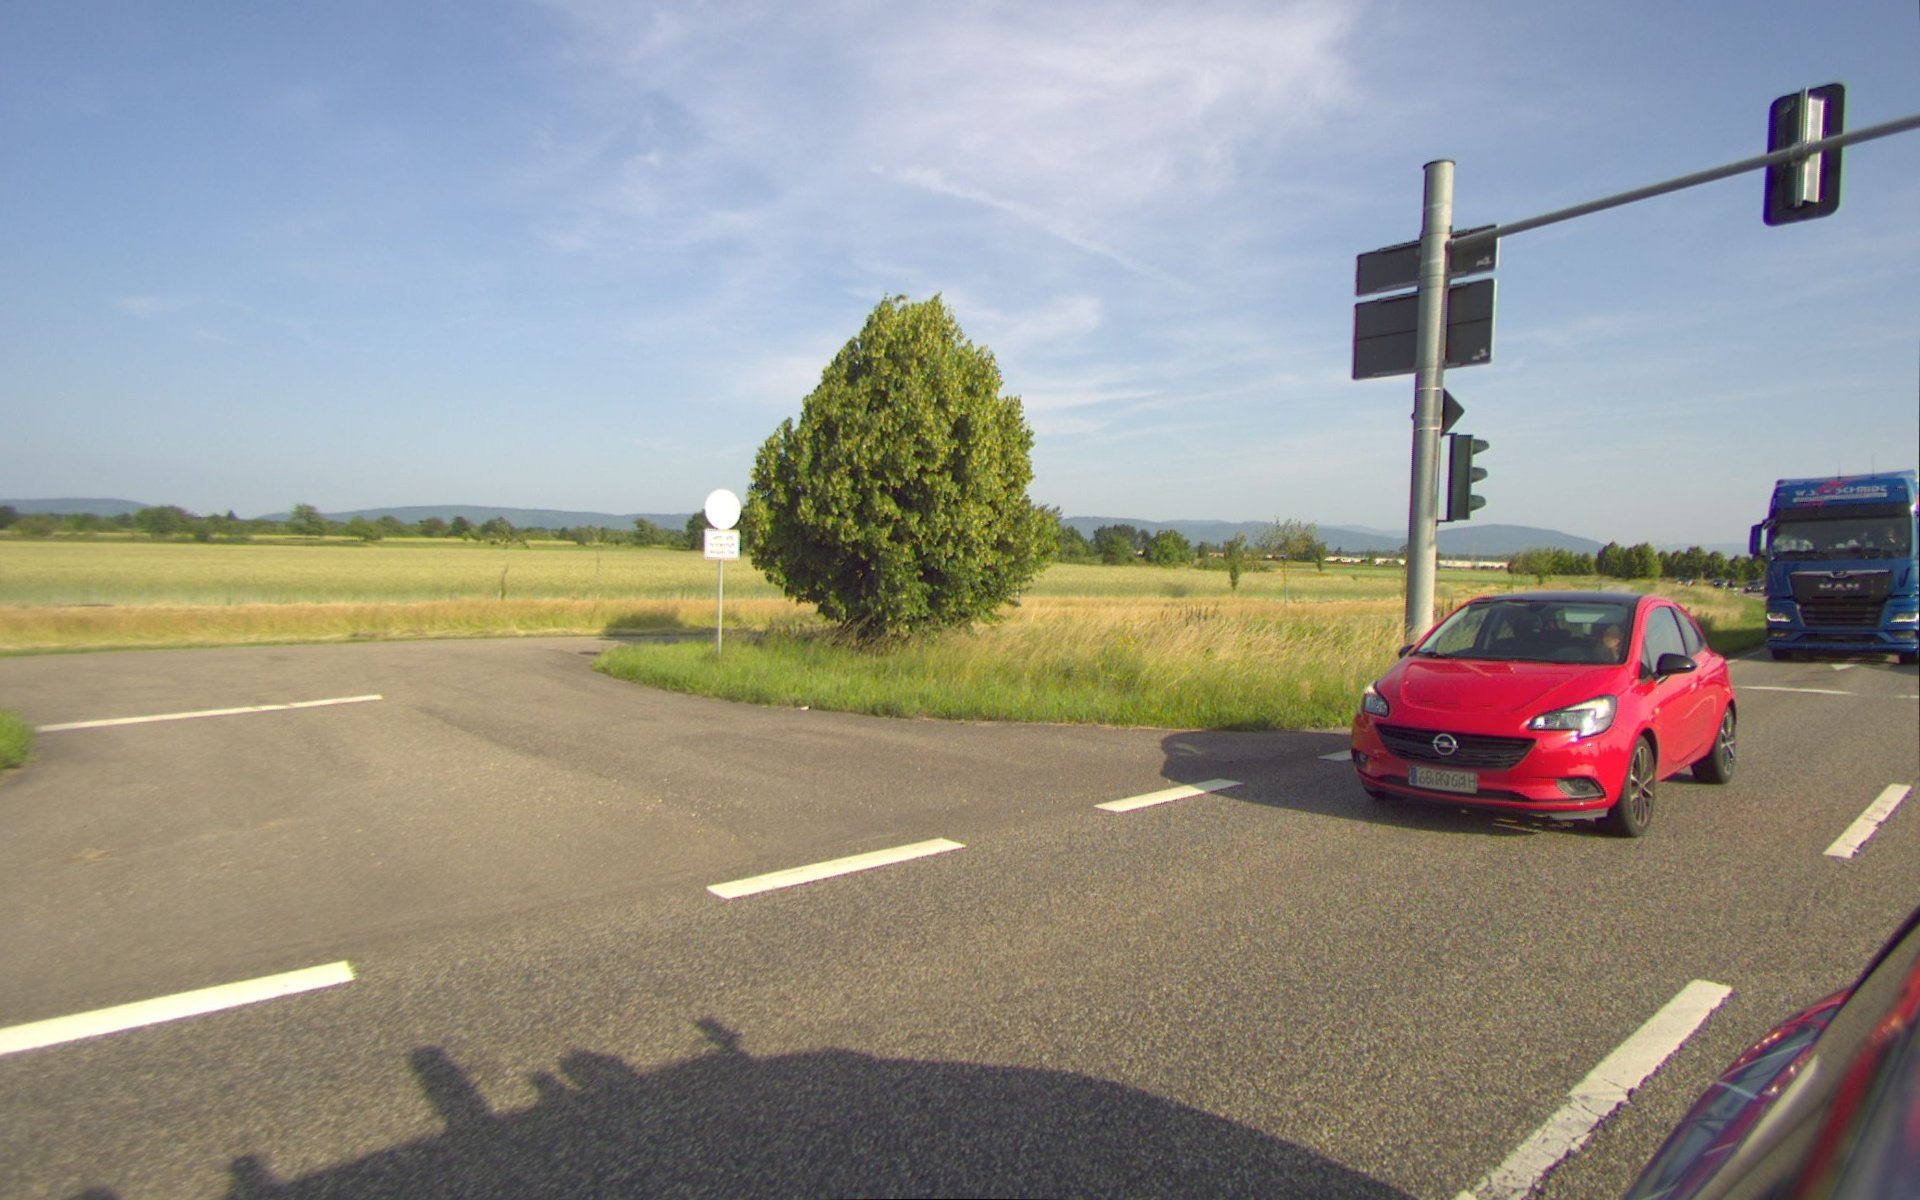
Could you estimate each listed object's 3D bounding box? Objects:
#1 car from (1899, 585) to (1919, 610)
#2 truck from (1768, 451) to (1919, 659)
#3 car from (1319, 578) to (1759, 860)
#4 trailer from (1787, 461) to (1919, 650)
[{"bbox_3d":[63.196,-0.158,66.418,1.990,1.552,3.945,1,2,39],"label":"car"},{"bbox_3d":[19.702,-0.914,22.139,2.645,3.968,5.857,0,1,44],"label":"truck"},{"bbox_3d":[4.319,0.587,7.290,3.888,1.482,1.663,-1,2,-43],"label":"car"},{"bbox_3d":[24.464,-1.069,27.204,2.643,4.028,13.717,0,1,43],"label":"trailer"}]
